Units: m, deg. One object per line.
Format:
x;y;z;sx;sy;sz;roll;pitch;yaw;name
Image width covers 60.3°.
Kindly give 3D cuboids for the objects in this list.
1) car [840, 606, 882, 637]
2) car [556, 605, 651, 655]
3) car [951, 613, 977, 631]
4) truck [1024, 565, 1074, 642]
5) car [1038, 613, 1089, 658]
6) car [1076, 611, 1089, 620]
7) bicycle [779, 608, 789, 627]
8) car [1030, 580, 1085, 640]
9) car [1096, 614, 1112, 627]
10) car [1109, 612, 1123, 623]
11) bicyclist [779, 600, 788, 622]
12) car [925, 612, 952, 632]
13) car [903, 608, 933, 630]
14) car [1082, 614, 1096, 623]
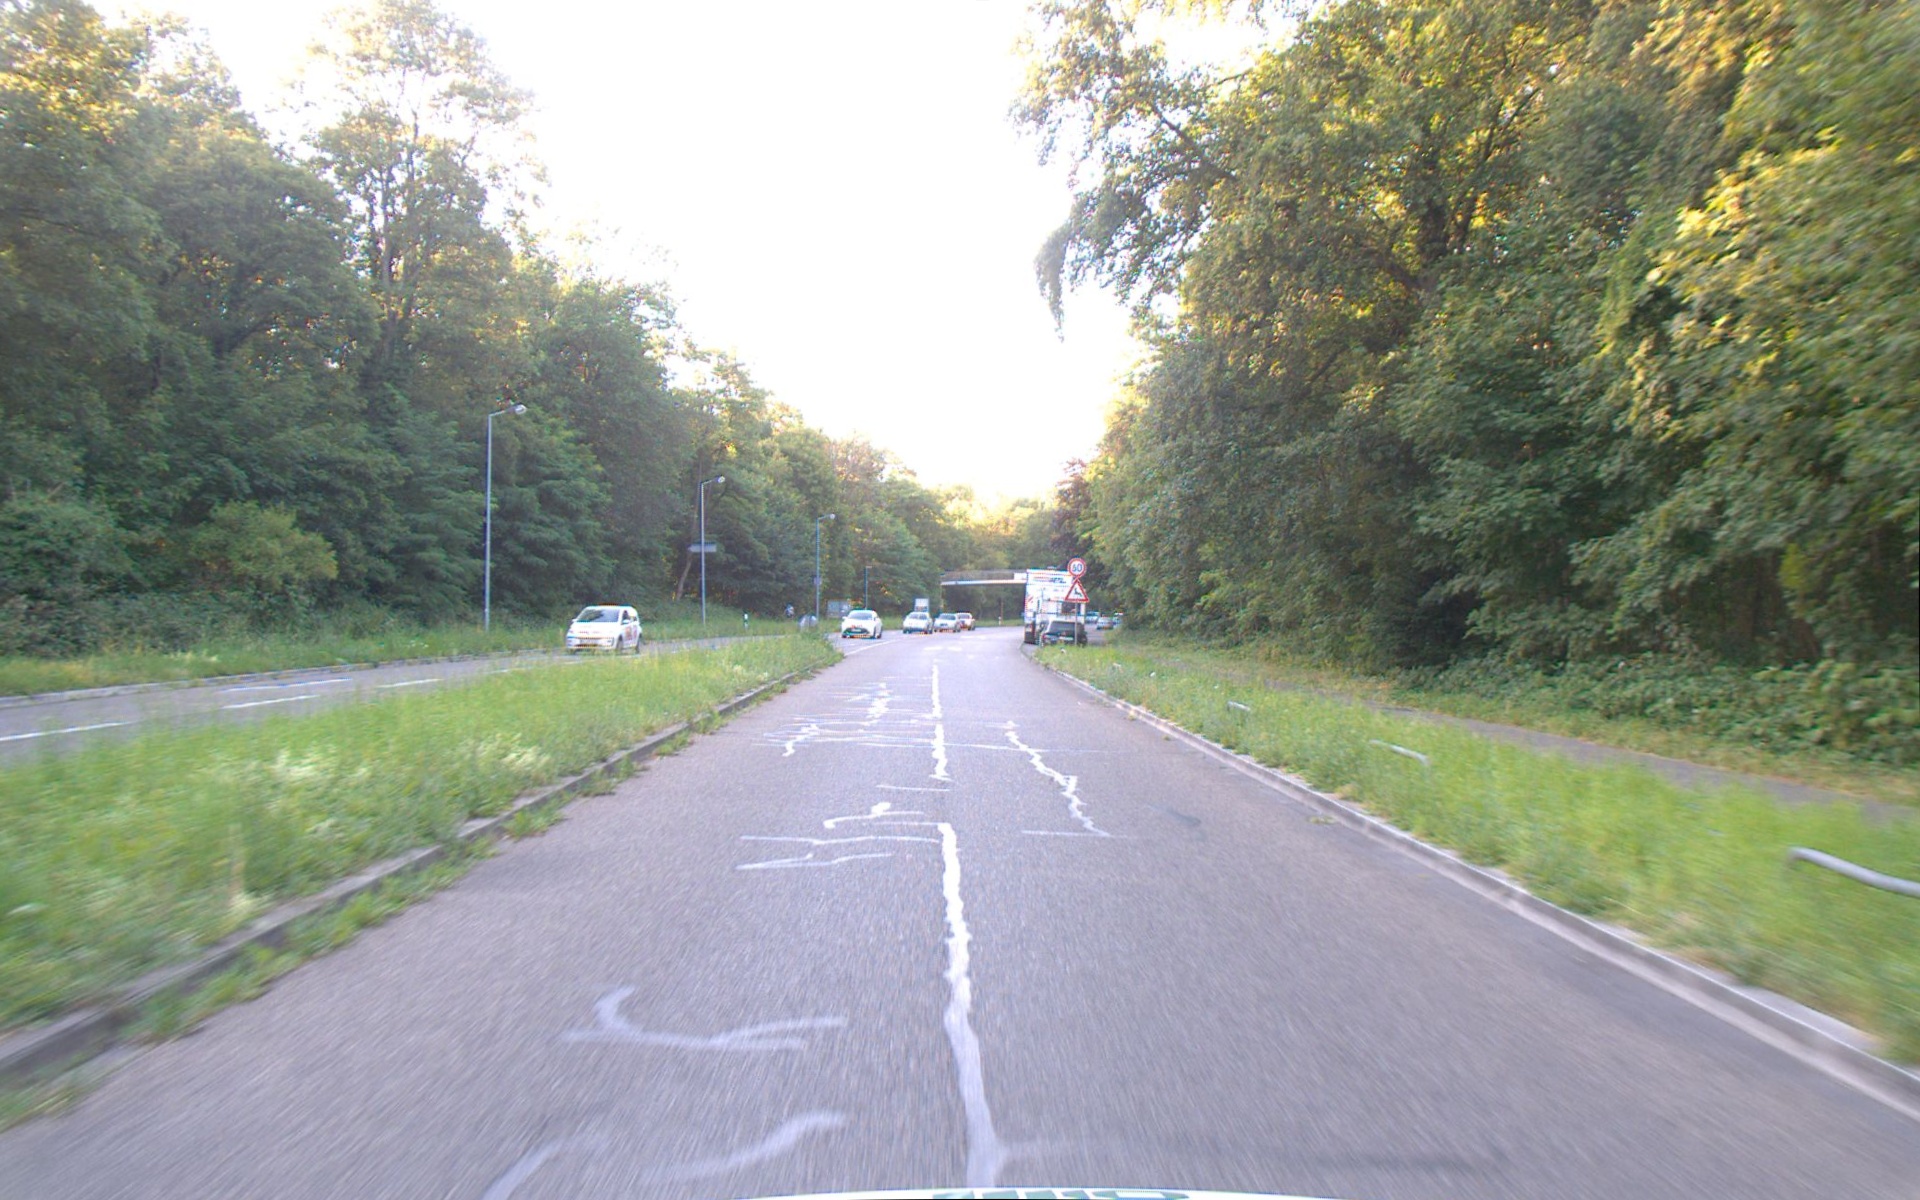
-5.222;1.168;87.689;1.797;1.534;3.938;0;-2;2;car
-11.017;0.965;51.407;1.952;1.484;3.811;0;-2;3;car
0.367;1.935;144.661;1.852;1.465;4.772;2;0;4;car
5.010;0.211;93.046;2.602;4.098;9.726;1;0;3;truck
3.617;1.223;58.337;1.629;1.430;3.943;3;0;2;car
19.358;2.419;261.281;1.851;1.473;4.113;0;0;8;car
-12.109;1.182;113.578;0.618;1.239;2.257;0;0;-8;bicycle
4.977;0.517;84.969;2.359;2.908;5.931;1;-1;0;car
16.382;2.355;188.013;1.851;1.473;4.112;0;0;5;car
22.716;2.554;240.694;1.851;1.473;4.113;0;0;8;car
-12.105;0.749;113.565;0.608;1.537;0.846;0;1;-8;bicyclist
-1.651;1.696;127.226;1.684;1.422;4.377;1;0;4;car
-2.883;1.307;113.827;1.680;1.471;4.175;0;0;3;car
19.689;2.812;252.292;1.851;1.473;4.113;0;0;8;car
